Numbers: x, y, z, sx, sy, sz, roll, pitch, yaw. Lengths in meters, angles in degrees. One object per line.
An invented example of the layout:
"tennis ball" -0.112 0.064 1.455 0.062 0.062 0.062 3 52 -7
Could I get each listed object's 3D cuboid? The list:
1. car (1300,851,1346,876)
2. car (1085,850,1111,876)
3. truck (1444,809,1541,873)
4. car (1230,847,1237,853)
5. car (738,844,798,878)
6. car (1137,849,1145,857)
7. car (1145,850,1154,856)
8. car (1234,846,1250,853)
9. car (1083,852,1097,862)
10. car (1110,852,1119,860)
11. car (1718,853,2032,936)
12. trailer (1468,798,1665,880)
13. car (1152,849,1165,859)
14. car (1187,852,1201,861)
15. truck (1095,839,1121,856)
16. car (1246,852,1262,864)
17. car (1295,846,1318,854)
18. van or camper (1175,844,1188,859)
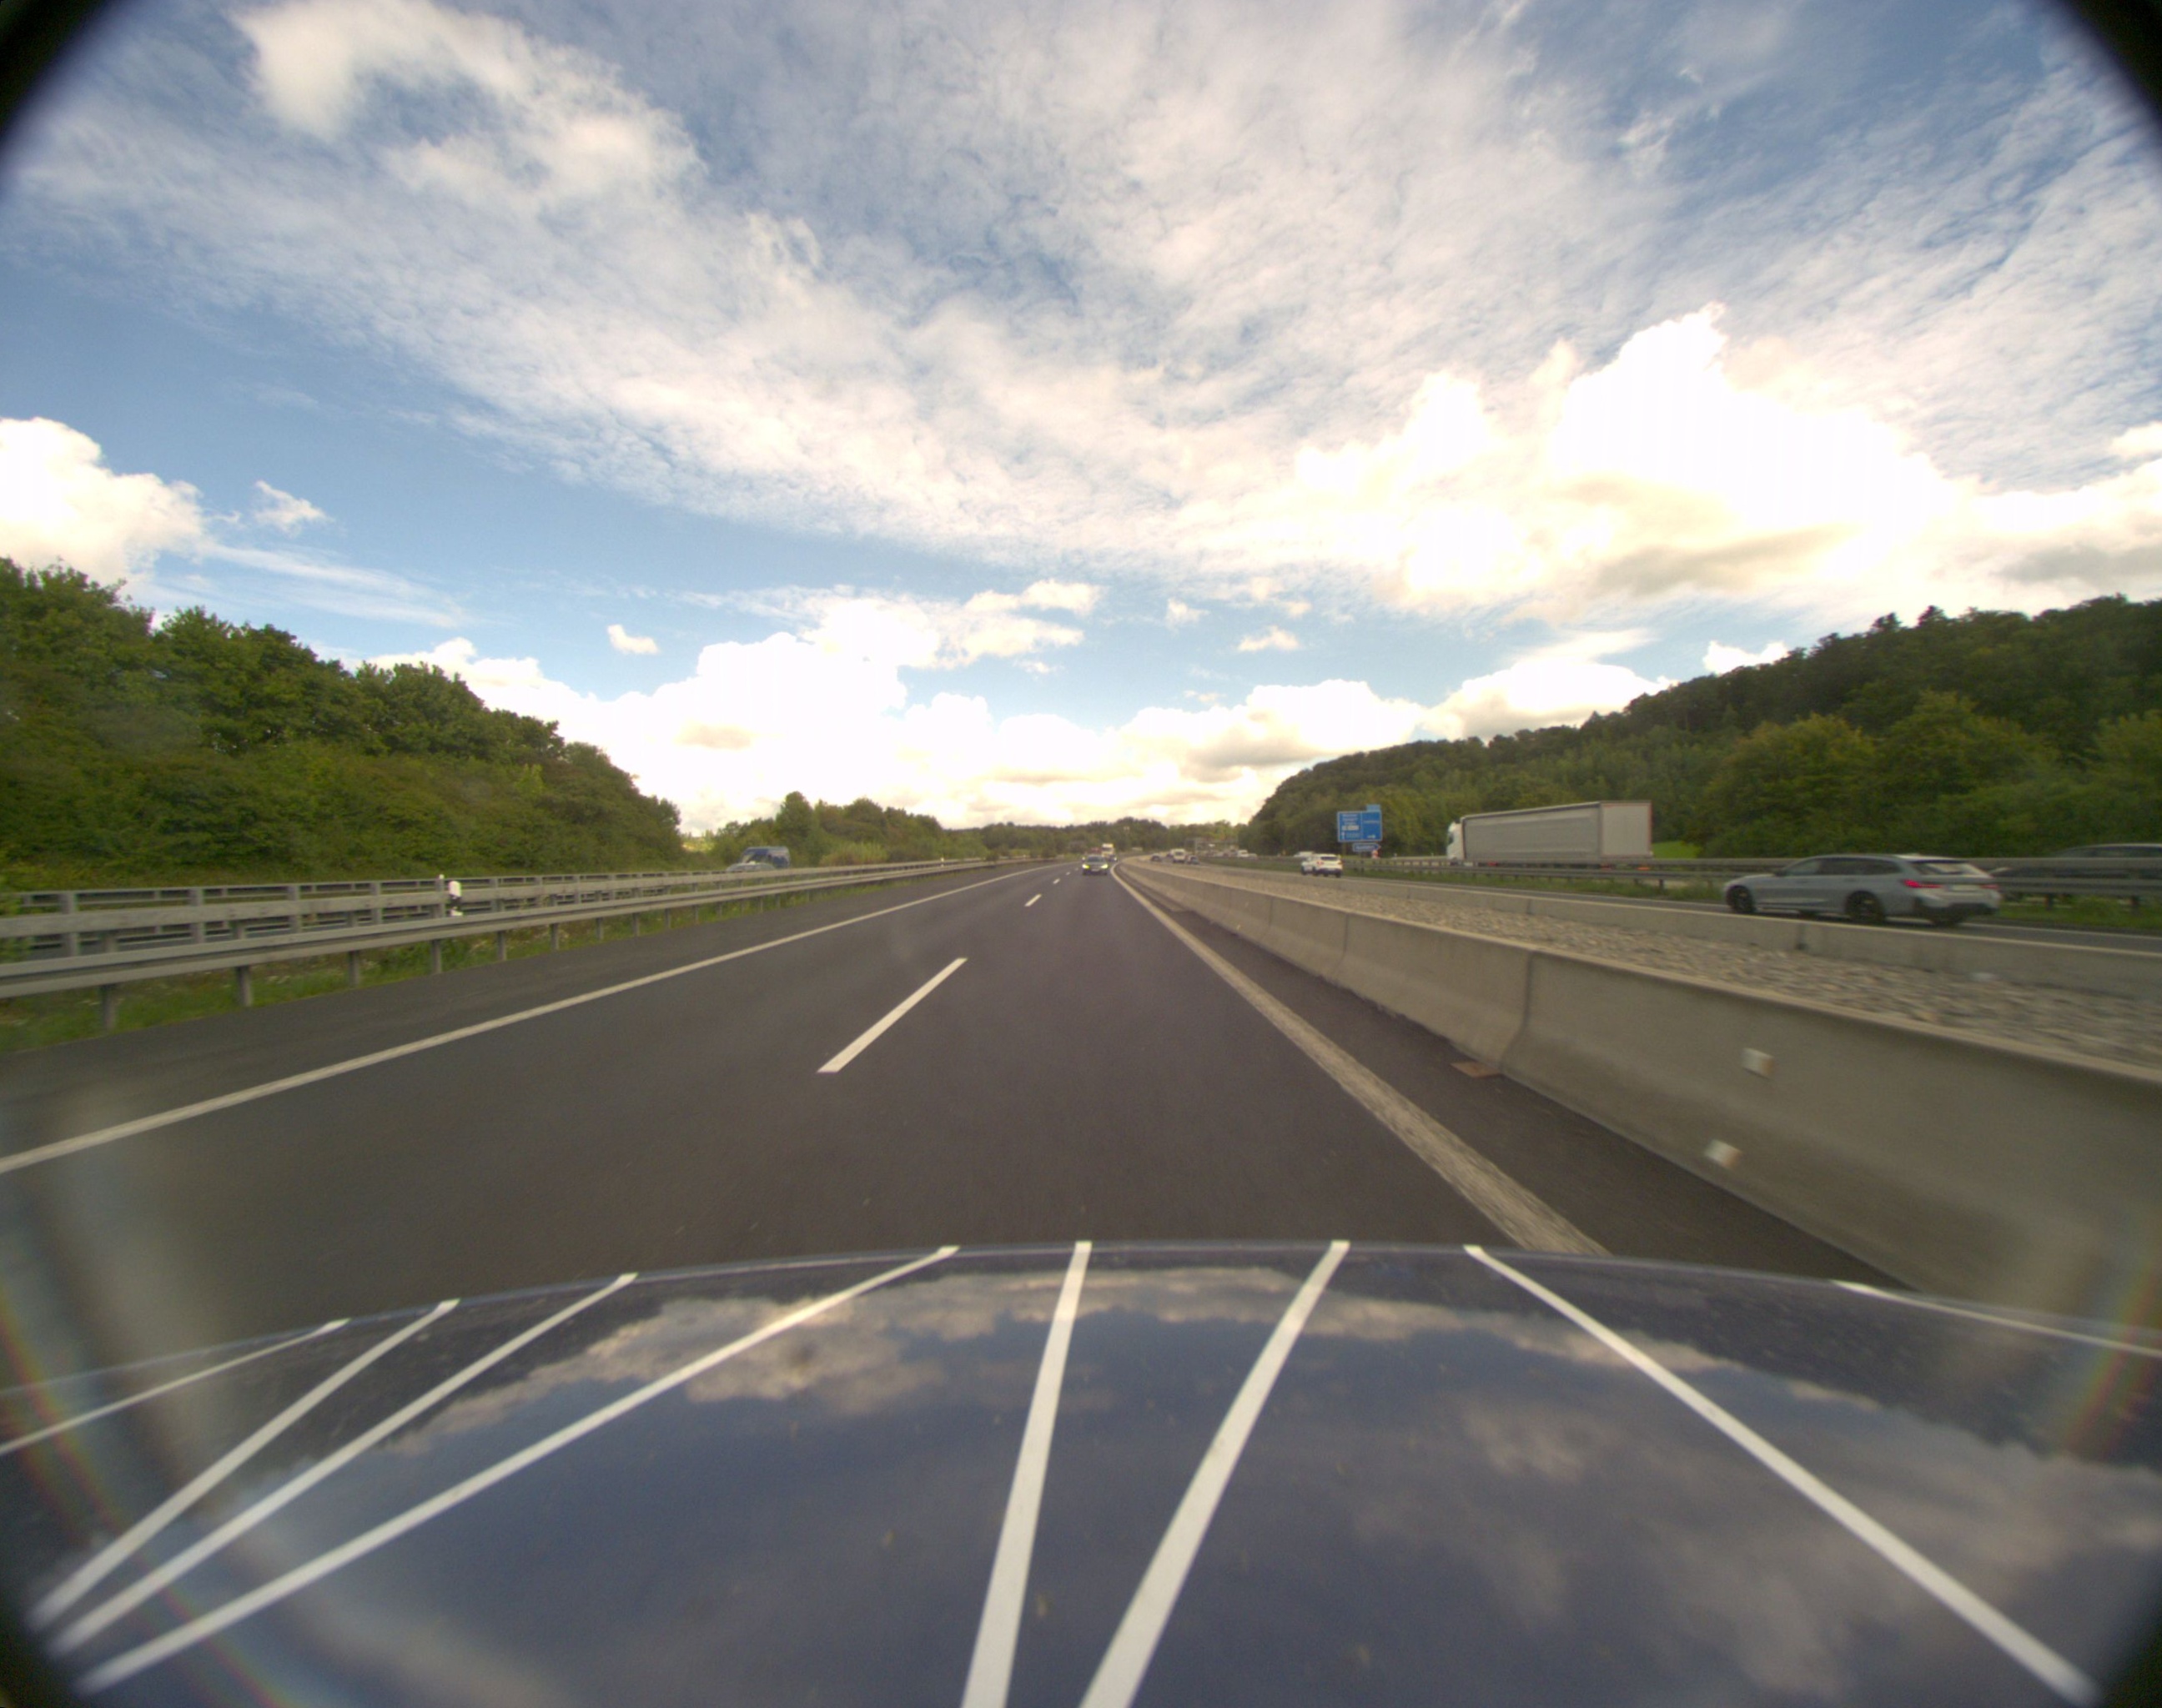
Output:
"car" 16.771 0.647 52.866 1.802 1.621 4.753 -1 1 2
"car" 1.245 0.609 54.564 1.724 1.722 3.939 -2 1 2
"truck" 27.629 -0.873 51.376 3.159 4.042 6.286 -1 1 1
"car" 47.861 -1.323 237.873 1.997 2.002 4.002 -1 1 9
"car" -21.756 0.446 53.041 1.999 2.173 5.127 -2 1 0
"car" 12.850 -0.237 162.673 1.753 1.621 4.842 -1 1 5
"car" 18.425 -0.270 204.971 1.869 1.413 4.424 -1 1 -1
"car" 45.091 -1.210 212.630 2.002 2.002 5.146 -1 1 -22
"car" 1.476 0.483 129.420 1.997 1.591 4.001 -1 1 6
"car" 7.203 0.388 161.856 1.753 1.621 4.842 -1 1 4
"car" 16.743 0.747 16.524 1.649 1.486 4.996 -1 1 1
"trailer" 27.567 -0.823 44.531 3.159 4.070 13.385 -1 1 1
"car" 12.686 -0.004 124.827 1.754 1.621 4.841 -1 1 2
"car" 18.516 0.354 124.506 1.754 1.413 4.209 -1 1 1
"truck" 7.149 -1.645 197.211 4.944 4.306 14.638 -1 1 9
"car" 28.329 0.605 124.511 1.998 1.827 4.001 -1 1 4
"car" 54.522 -0.979 183.678 2.178 1.912 5.142 -1 1 -39
"van or camper" 18.556 -0.483 140.072 2.104 2.521 5.424 -1 1 5
